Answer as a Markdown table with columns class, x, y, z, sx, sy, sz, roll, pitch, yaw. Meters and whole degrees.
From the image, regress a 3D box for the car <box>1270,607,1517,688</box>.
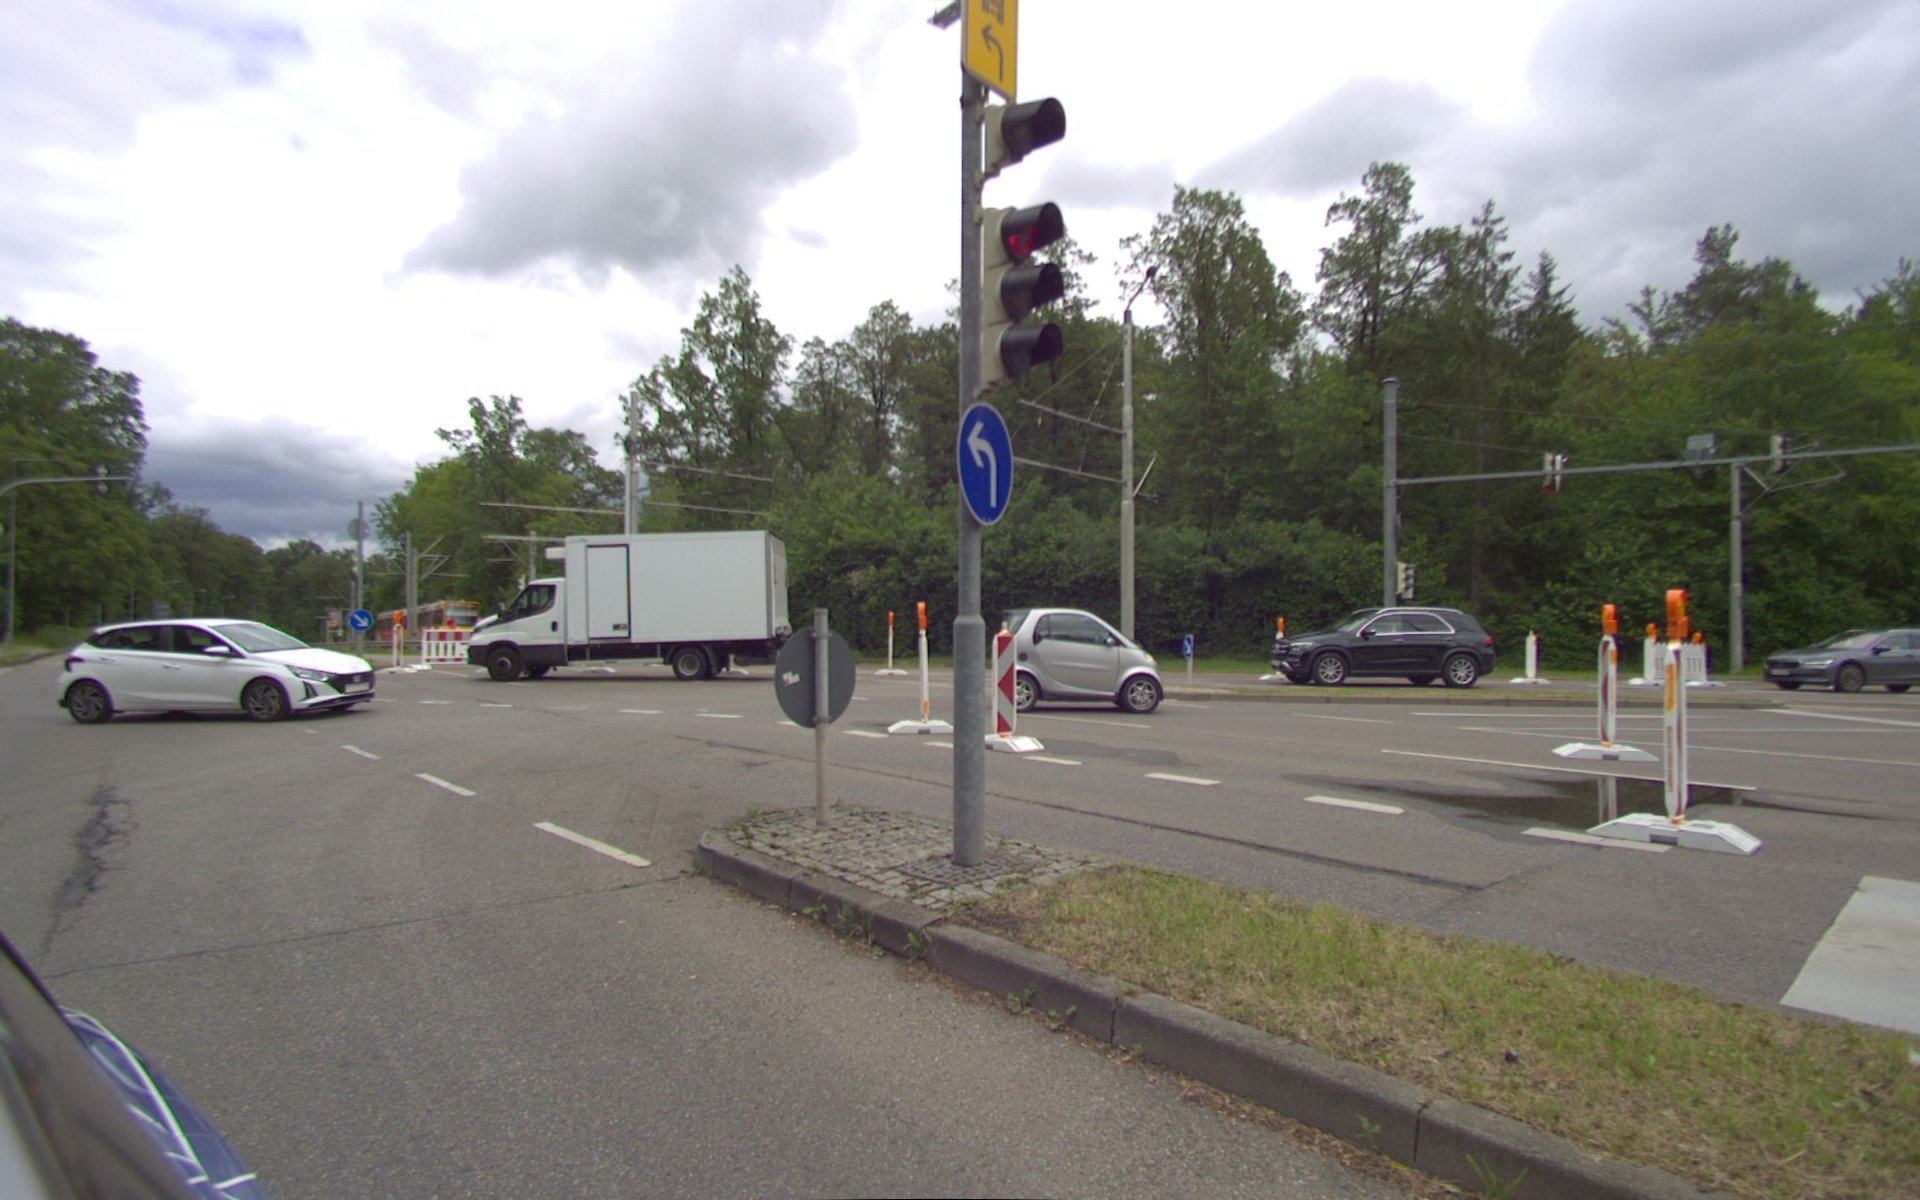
| class | x | y | z | sx | sy | sz | roll | pitch | yaw |
| --- | --- | --- | --- | --- | --- | --- | --- | --- | --- |
| car | 9.798 | 1.068 | 23.157 | 4.777 | 1.763 | 1.968 | 0 | -2 | 0 |

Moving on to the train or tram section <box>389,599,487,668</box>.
| class | x | y | z | sx | sy | sz | roll | pitch | yaw |
| --- | --- | --- | --- | --- | --- | --- | --- | --- | --- |
| train or tram section | -40.815 | 2.368 | 78.487 | 2.909 | 4.685 | 18.580 | 3 | -1 | -39 |

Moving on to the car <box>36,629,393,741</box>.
| class | x | y | z | sx | sy | sz | roll | pitch | yaw |
| --- | --- | --- | --- | --- | --- | --- | --- | --- | --- |
| car | -10.805 | 1.205 | 14.855 | 4.017 | 1.490 | 1.654 | 1 | -2 | 1 |

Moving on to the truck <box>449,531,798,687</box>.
| class | x | y | z | sx | sy | sz | roll | pitch | yaw |
| --- | --- | --- | --- | --- | --- | --- | --- | --- | --- |
| truck | -7.402 | 0.240 | 22.947 | 7.054 | 3.249 | 2.457 | 1 | -2 | -1 |

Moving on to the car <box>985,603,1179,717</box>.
| class | x | y | z | sx | sy | sz | roll | pitch | yaw |
| --- | --- | --- | --- | --- | --- | --- | --- | --- | --- |
| car | 1.774 | 0.894 | 15.249 | 2.688 | 1.598 | 1.462 | 1 | -2 | -1 |

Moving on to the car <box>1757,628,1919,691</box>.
| class | x | y | z | sx | sy | sz | roll | pitch | yaw |
| --- | --- | --- | --- | --- | --- | --- | --- | --- | --- |
| car | 21.587 | 1.358 | 23.441 | 4.624 | 1.372 | 1.968 | 0 | -2 | 1 |
